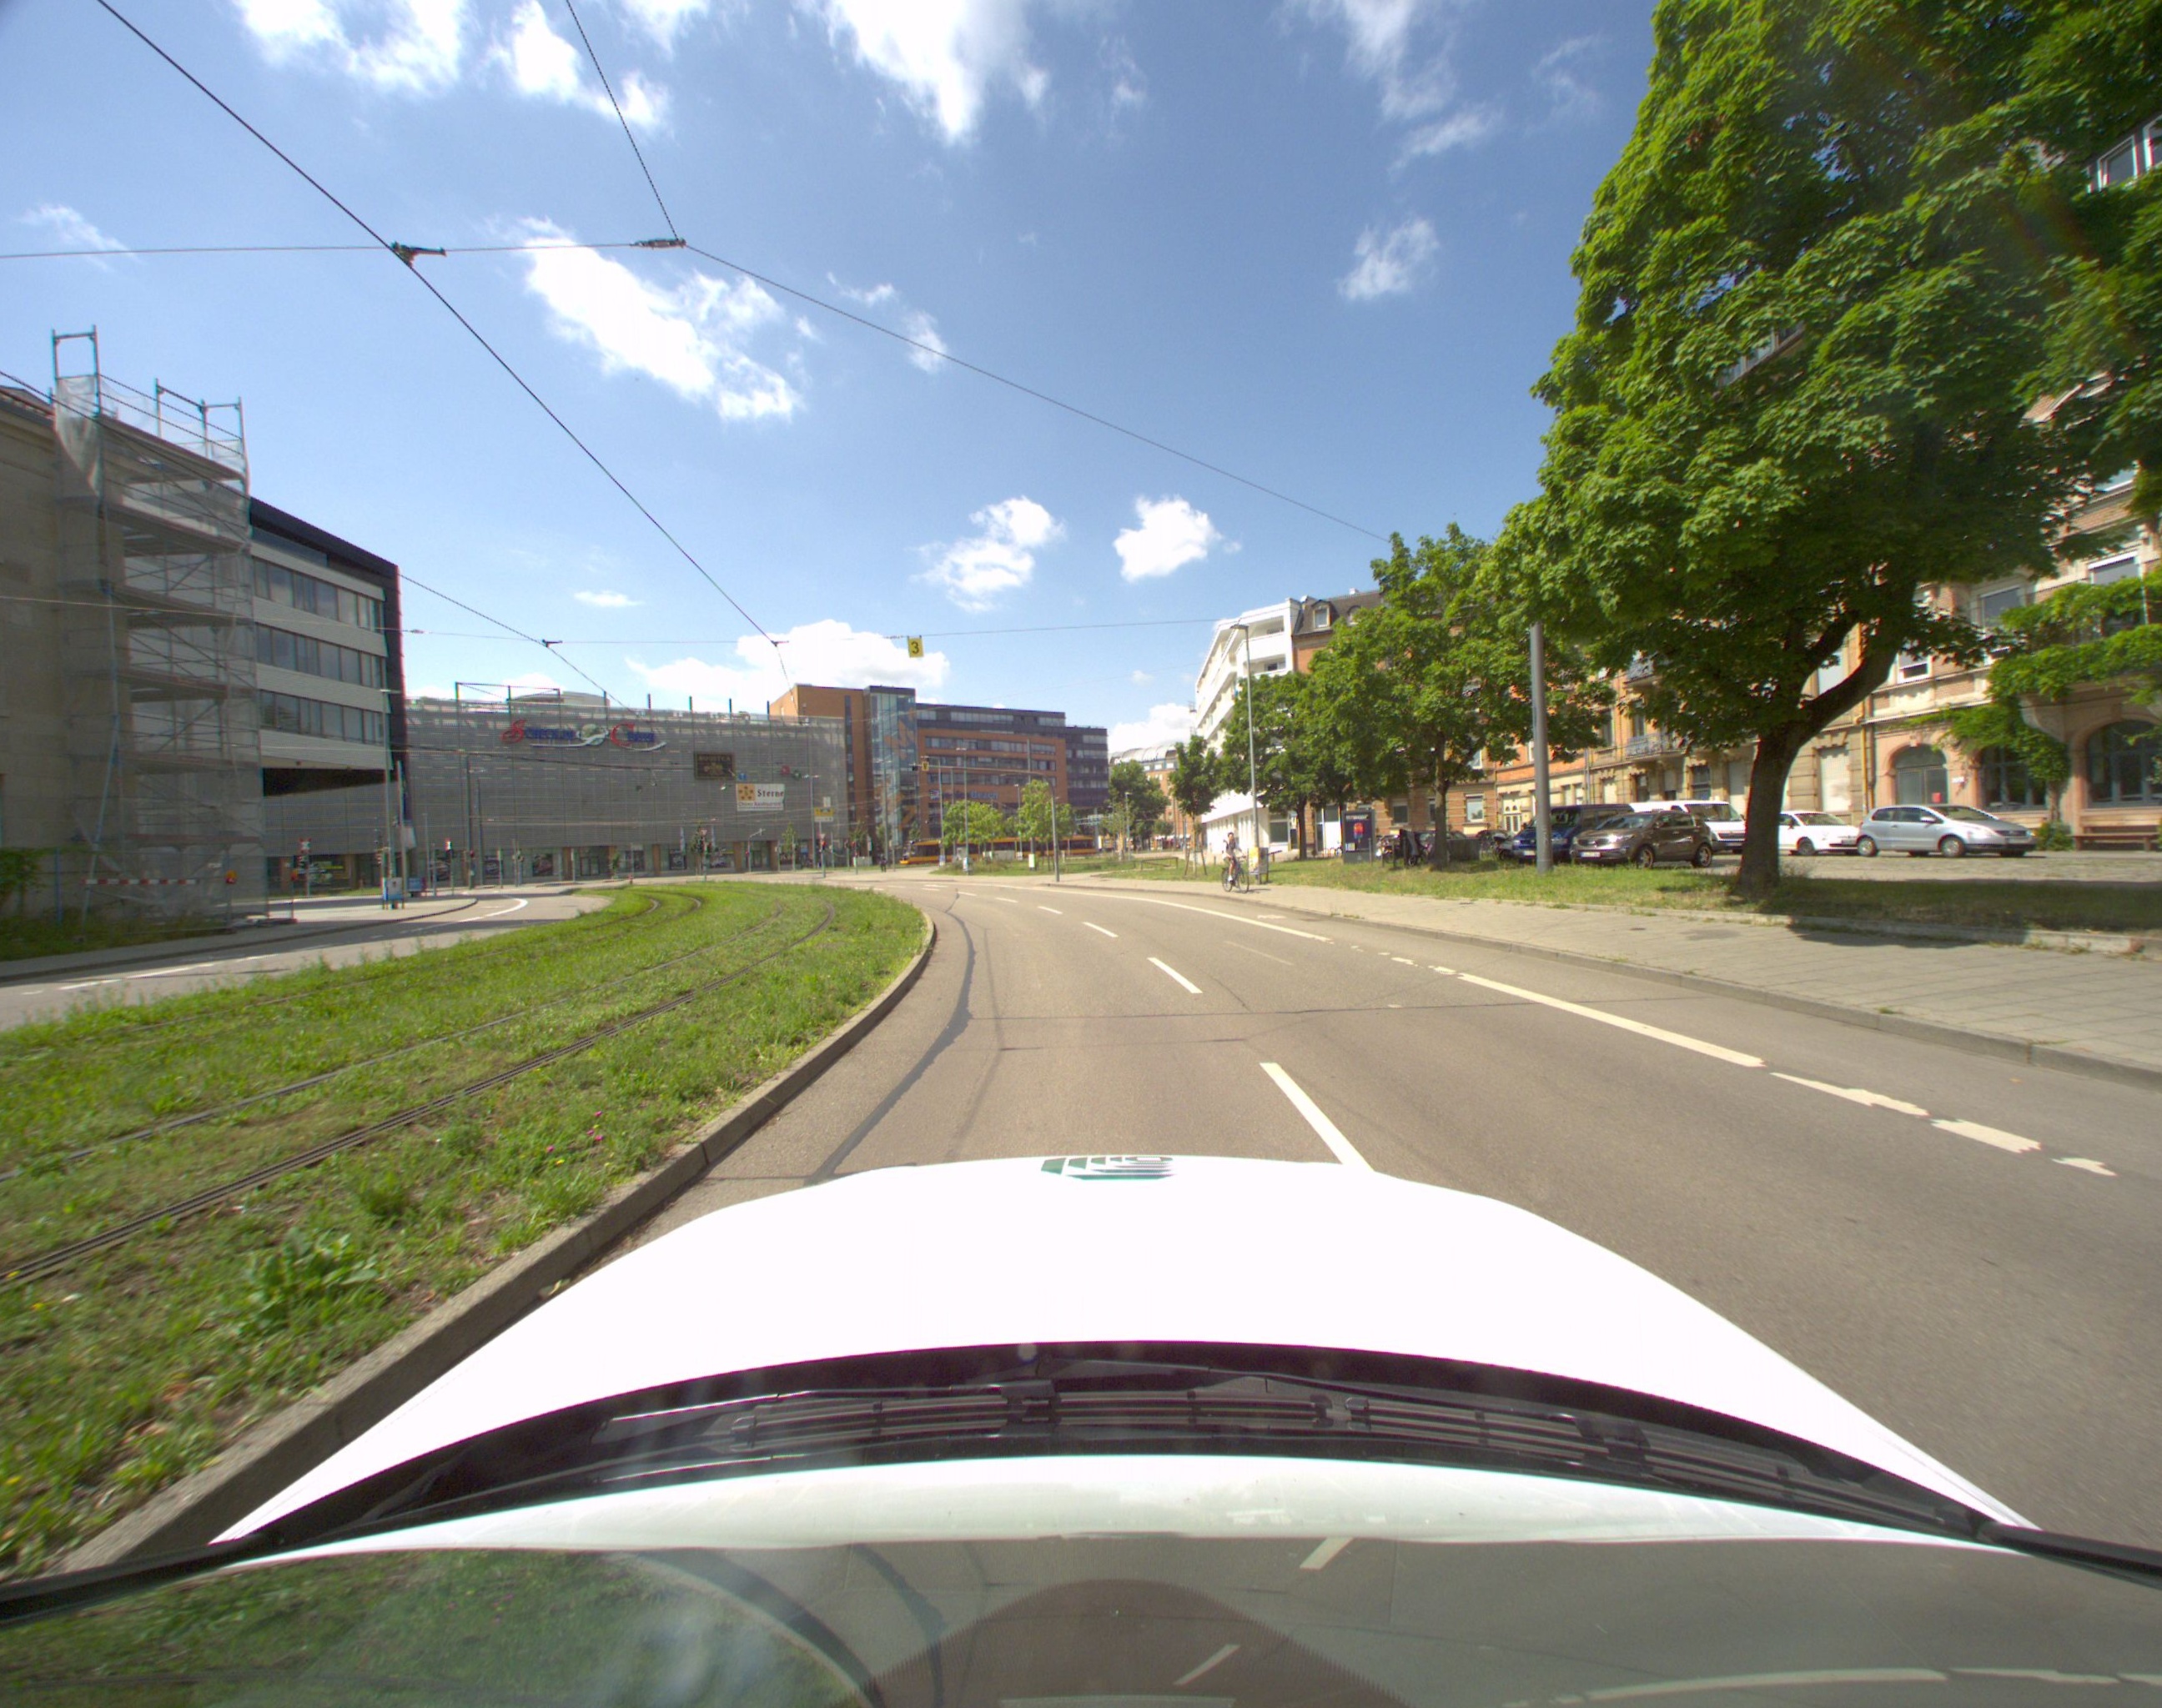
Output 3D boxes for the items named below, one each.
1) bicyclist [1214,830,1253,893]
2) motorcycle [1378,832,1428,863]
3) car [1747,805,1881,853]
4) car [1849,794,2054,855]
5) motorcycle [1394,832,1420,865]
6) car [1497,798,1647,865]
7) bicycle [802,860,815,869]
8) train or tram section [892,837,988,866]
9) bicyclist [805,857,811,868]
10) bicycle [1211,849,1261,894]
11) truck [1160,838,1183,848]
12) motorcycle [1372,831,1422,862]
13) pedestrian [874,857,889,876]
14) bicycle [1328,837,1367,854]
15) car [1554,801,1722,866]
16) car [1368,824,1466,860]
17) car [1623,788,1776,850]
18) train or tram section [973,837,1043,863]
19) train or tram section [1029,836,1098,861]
[{"bbox_3d":[4.599,0.213,24.561,0.695,1.824,0.952,-5,1,-13],"label":"bicyclist"},{"bbox_3d":[13.156,-0.270,33.281,1.777,1.167,0.640,-3,0,1],"label":"motorcycle"},{"bbox_3d":[23.959,-0.790,26.784,1.556,1.403,3.356,-3,0,5],"label":"car"},{"bbox_3d":[23.769,-0.756,22.471,1.652,1.491,3.857,-2,0,3],"label":"car"},{"bbox_3d":[12.273,-0.219,30.662,0.633,1.167,1.914,-3,0,15],"label":"motorcycle"},{"bbox_3d":[15.356,-0.707,25.432,4.642,1.927,1.899,-2,0,-28],"label":"car"},{"bbox_3d":[-40.783,1.533,121.824,1.773,1.224,0.578,-2,0,-34],"label":"bicycle"},{"bbox_3d":[-19.244,-0.379,112.432,13.579,3.599,3.187,-2,0,-45],"label":"train or tram section"},{"bbox_3d":[-40.840,1.320,121.790,0.667,1.623,0.545,-2,0,-34],"label":"bicyclist"},{"bbox_3d":[4.641,0.496,24.520,0.694,1.242,1.831,-5,1,-13],"label":"bicycle"},{"bbox_3d":[20.830,-2.470,186.991,2.009,2.085,5.462,-2,0,-36],"label":"truck"},{"bbox_3d":[13.217,-0.313,34.090,1.777,1.167,0.640,-3,0,1],"label":"motorcycle"},{"bbox_3d":[-19.150,1.170,78.189,0.907,1.702,0.813,-4,1,27],"label":"pedestrian"},{"bbox_3d":[16.001,-0.506,48.824,2.393,0.969,0.540,-2,0,-22],"label":"bicycle"},{"bbox_3d":[15.338,-0.563,22.439,4.180,1.656,1.901,-2,0,-24],"label":"car"},{"bbox_3d":[15.607,-0.563,37.794,4.269,1.427,1.790,-3,1,-27],"label":"car"},{"bbox_3d":[24.052,-1.264,32.018,2.102,2.178,5.399,-2,0,3],"label":"car"},{"bbox_3d":[-10.804,-0.650,121.316,3.026,3.603,11.059,-2,0,43],"label":"train or tram section"},{"bbox_3d":[-2.644,-0.892,130.052,3.026,3.621,12.713,-2,0,43],"label":"train or tram section"}]
